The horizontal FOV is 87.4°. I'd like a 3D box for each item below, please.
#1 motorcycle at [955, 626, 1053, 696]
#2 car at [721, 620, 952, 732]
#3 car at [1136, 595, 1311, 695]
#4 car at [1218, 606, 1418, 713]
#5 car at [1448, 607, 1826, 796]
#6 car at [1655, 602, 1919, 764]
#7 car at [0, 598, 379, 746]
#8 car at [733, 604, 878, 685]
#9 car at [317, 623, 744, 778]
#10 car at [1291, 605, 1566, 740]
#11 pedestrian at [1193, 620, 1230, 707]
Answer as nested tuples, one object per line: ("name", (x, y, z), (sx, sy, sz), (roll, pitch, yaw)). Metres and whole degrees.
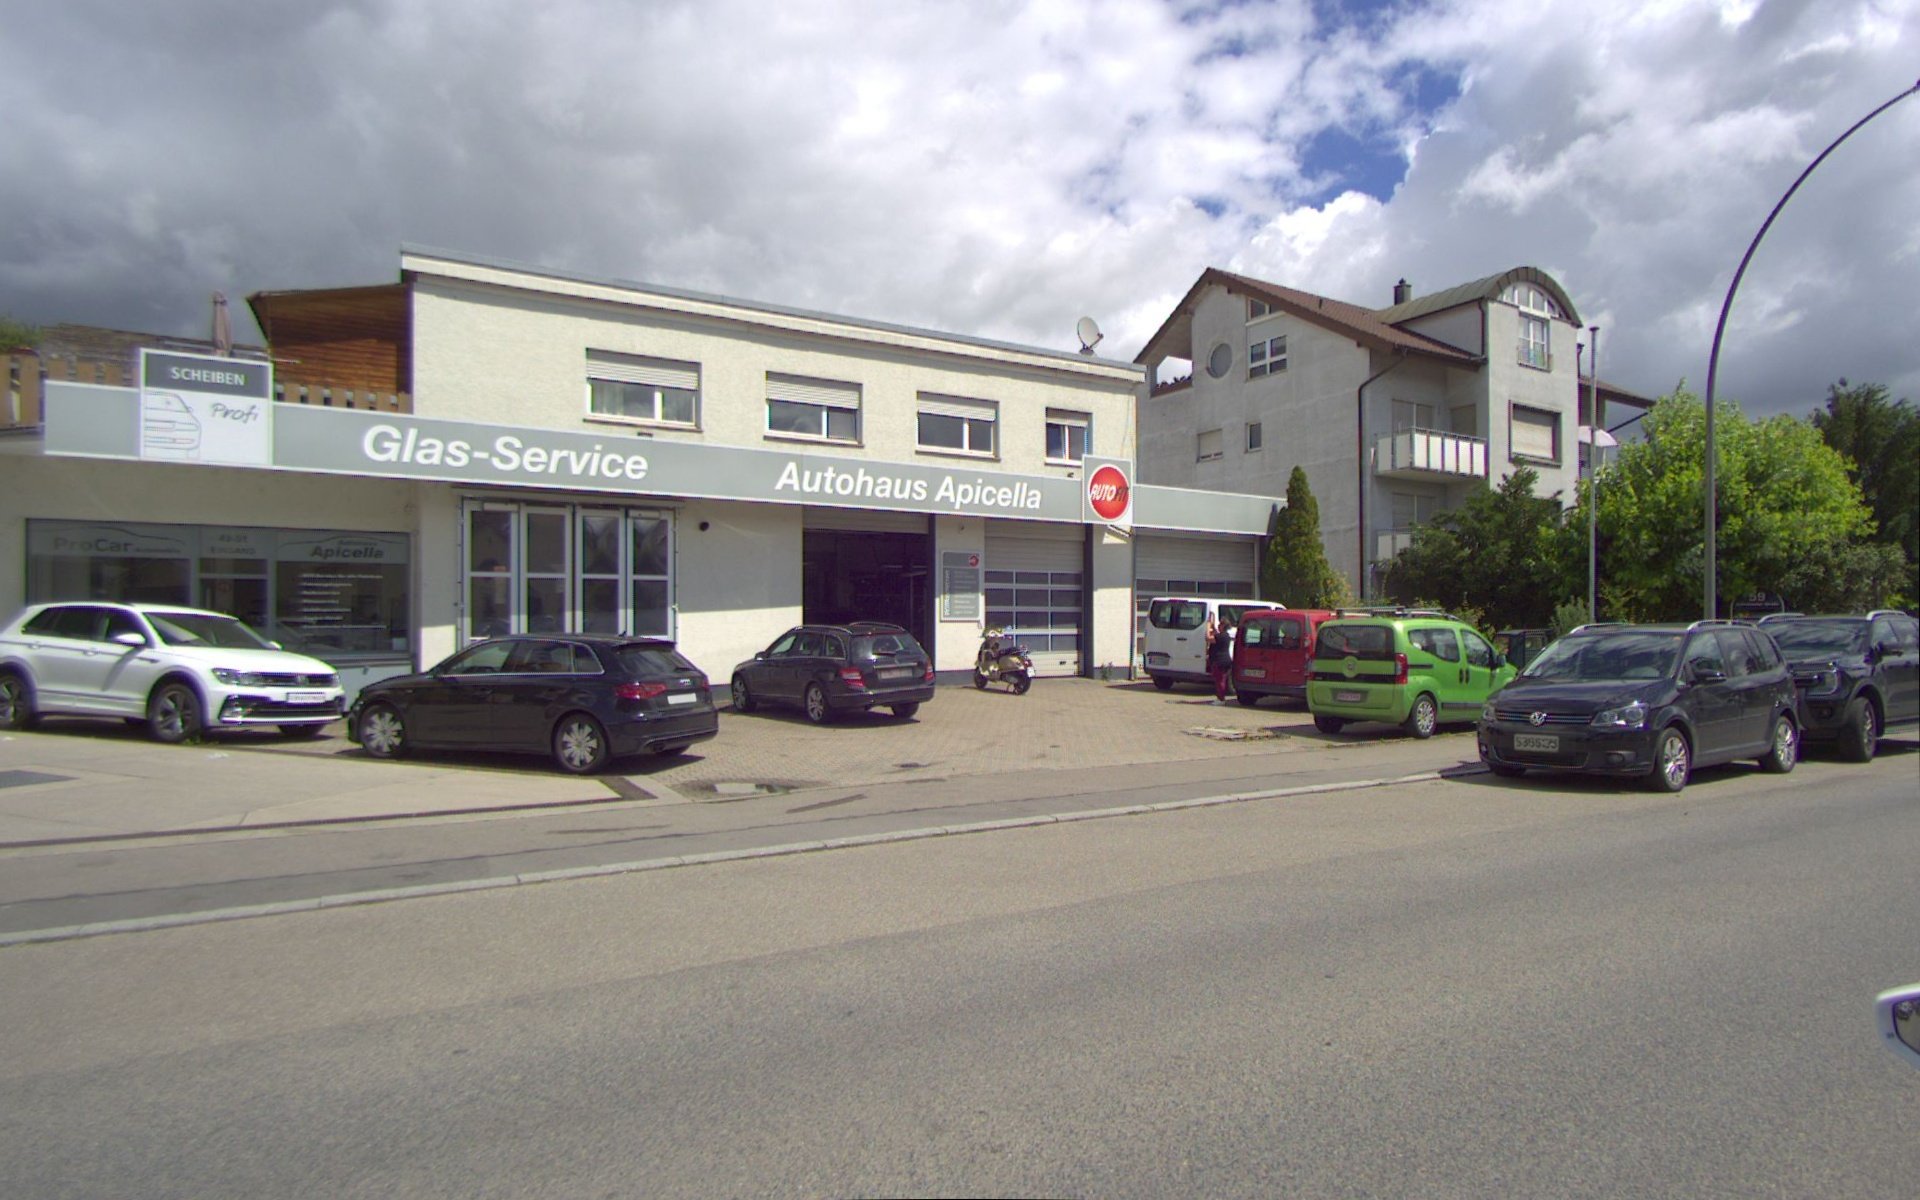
("motorcycle", (0.848, 1.191, 20.212), (0.838, 1.246, 2.185), (1, 1, -33))
("car", (-2.155, 1.109, 16.412), (1.956, 1.512, 4.370), (0, 0, -35))
("car", (5.972, 0.985, 22.449), (1.857, 2.006, 4.312), (1, -1, 44))
("car", (7.058, 1.116, 19.613), (4.305, 1.809, 1.776), (3, 0, -42))
("car", (7.444, 0.996, 10.930), (4.474, 1.702, 1.655), (1, -3, -31))
("car", (11.920, 1.074, 13.696), (5.367, 1.844, 1.902), (1, -5, -31))
("car", (-10.063, 0.890, 12.842), (4.323, 1.632, 1.978), (1, -5, 15))
("car", (-3.742, 0.980, 23.789), (1.851, 1.639, 3.961), (1, 0, -34))
("car", (-4.787, 1.022, 11.326), (4.251, 1.509, 1.799), (0, -1, 17))
("car", (7.235, 1.023, 15.398), (4.290, 1.809, 1.782), (1, -1, -32))
("pedestrian", (4.672, 1.173, 18.677), (0.487, 1.579, 0.410), (1, 1, -31))
